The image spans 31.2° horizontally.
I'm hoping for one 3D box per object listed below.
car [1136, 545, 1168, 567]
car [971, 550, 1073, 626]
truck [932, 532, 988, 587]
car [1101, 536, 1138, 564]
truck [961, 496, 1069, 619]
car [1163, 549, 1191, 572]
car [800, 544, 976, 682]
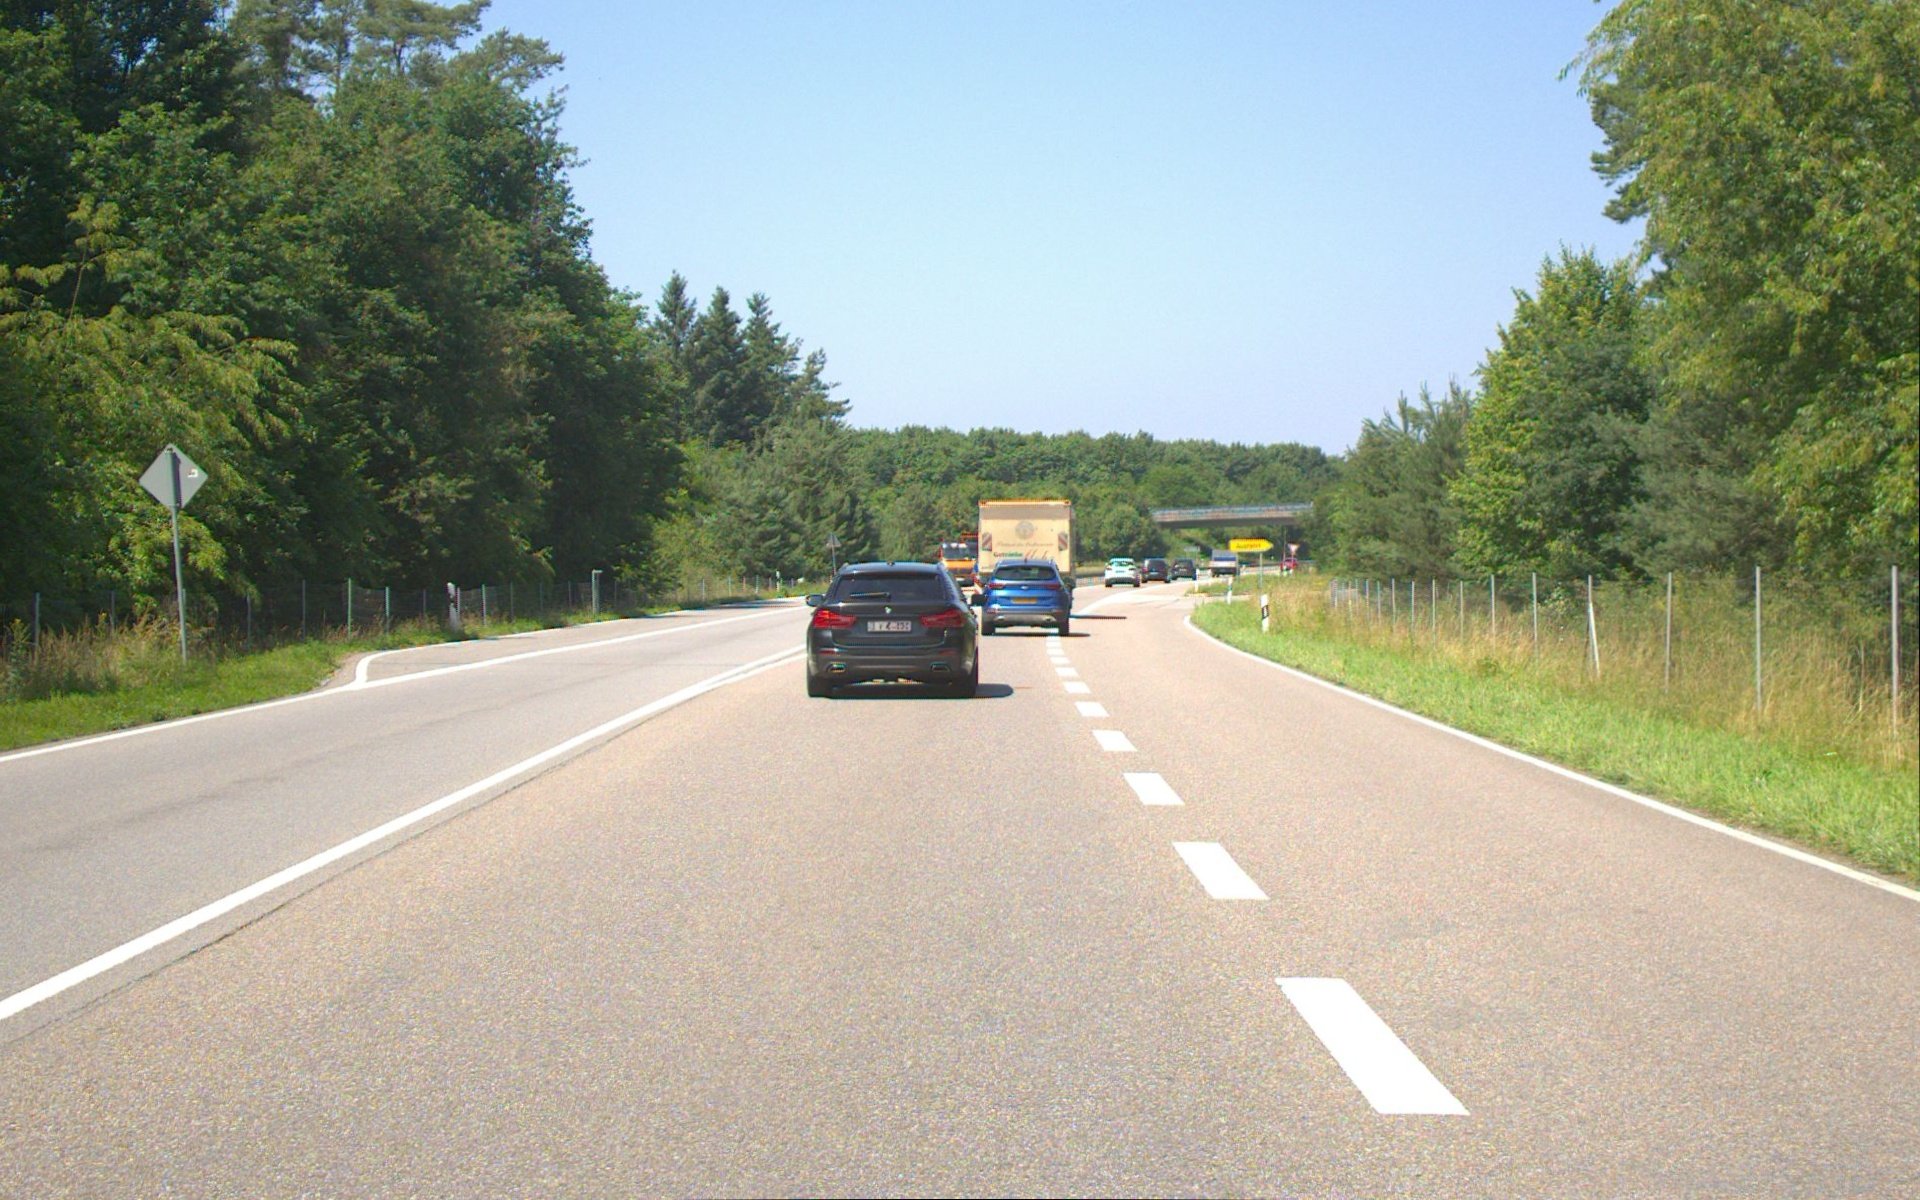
[{"bbox_3d":[12.702,-2.923,227.599,1.994,1.415,4.000,1,1,3],"label":"car"},{"bbox_3d":[1.296,-0.283,73.399,1.947,1.536,4.000,-1,1,-2],"label":"car"},{"bbox_3d":[0.034,-2.083,175.153,2.399,2.713,6.551,1,1,4],"label":"truck"},{"bbox_3d":[9.178,-2.885,198.070,1.863,1.600,4.000,-1,1,0],"label":"car"},{"bbox_3d":[1.598,-1.231,97.410,2.966,3.376,6.438,0,1,2],"label":"truck"},{"bbox_3d":[16.139,-2.957,255.391,1.994,1.631,4.000,-1,1,4],"label":"car"},{"bbox_3d":[-0.863,0.105,38.629,1.820,1.465,4.001,0,1,-3],"label":"car"}]
